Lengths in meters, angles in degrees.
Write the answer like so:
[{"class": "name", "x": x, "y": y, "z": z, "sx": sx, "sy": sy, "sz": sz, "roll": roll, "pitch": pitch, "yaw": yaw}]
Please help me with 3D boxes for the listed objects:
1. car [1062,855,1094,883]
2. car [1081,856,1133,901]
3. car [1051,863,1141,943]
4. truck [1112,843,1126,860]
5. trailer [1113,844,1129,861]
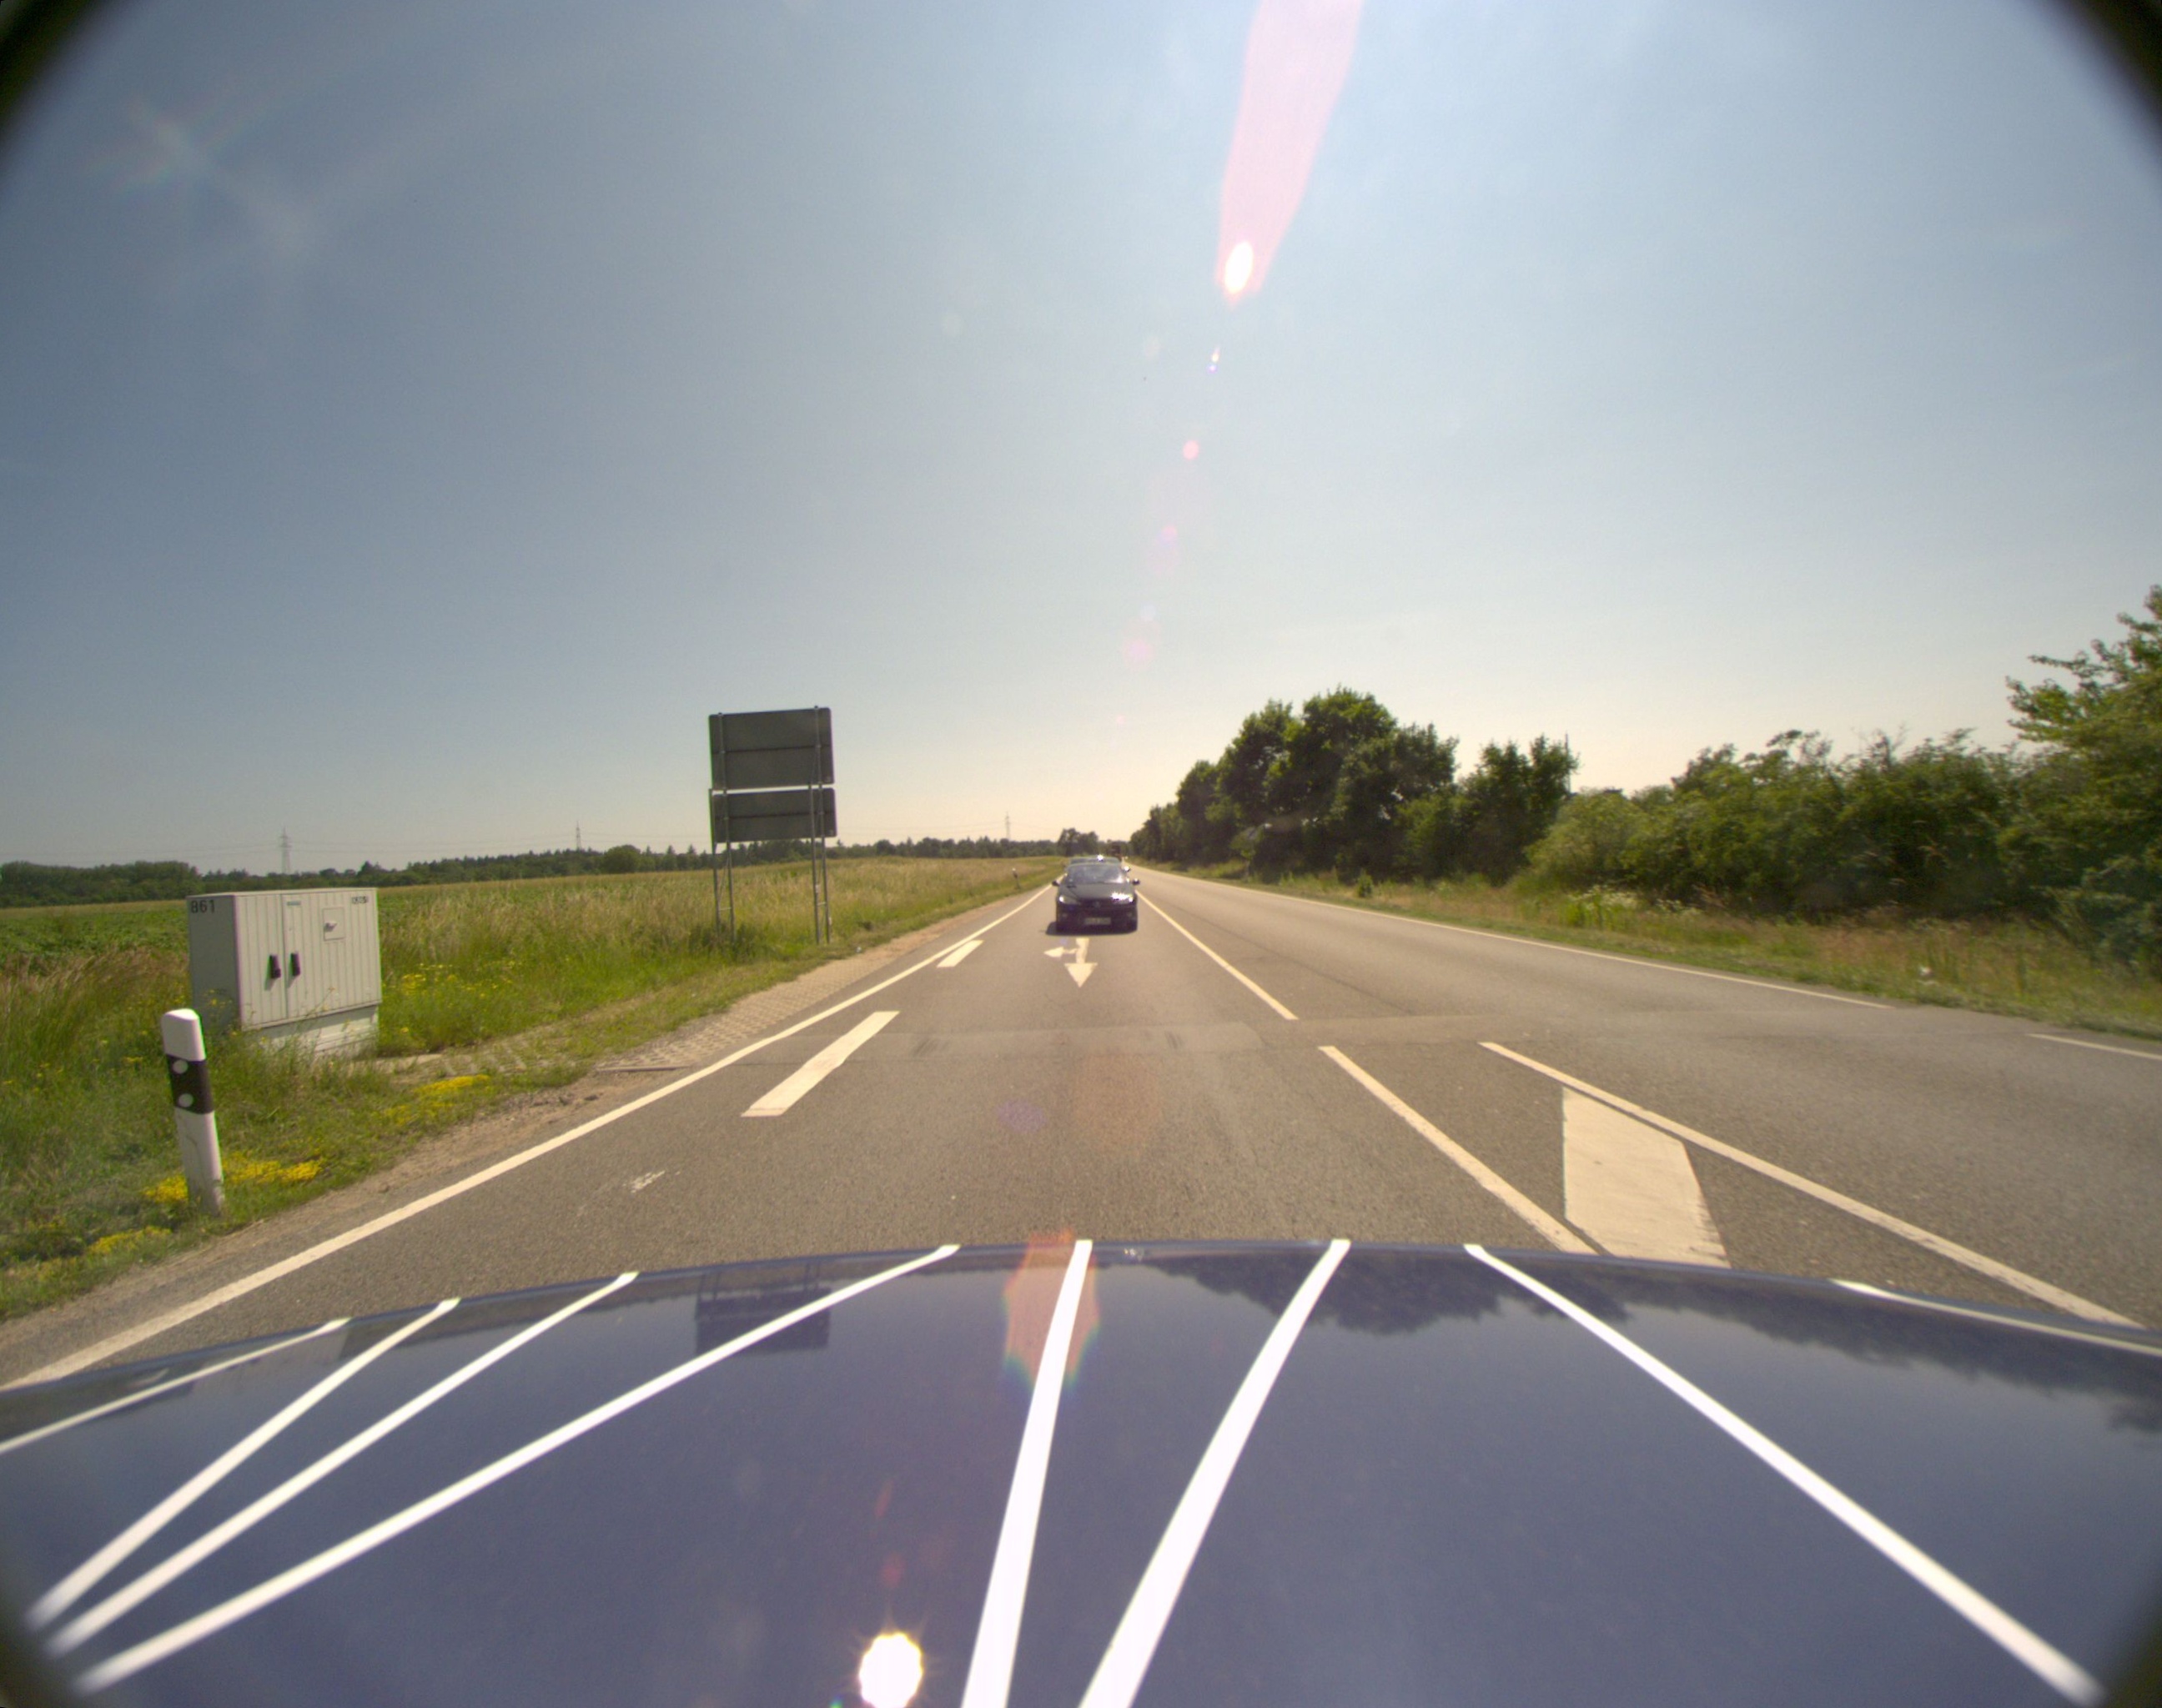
[{"class": "car", "x": -0.213, "y": 0.840, "z": 43.838, "sx": 1.666, "sy": 1.449, "sz": 4.172, "roll": -2, "pitch": 0, "yaw": -2}, {"class": "car", "x": 0.898, "y": 0.841, "z": 28.280, "sx": 1.665, "sy": 1.477, "sz": 3.730, "roll": -2, "pitch": 1, "yaw": -2}, {"class": "car", "x": 0.322, "y": 0.951, "z": 16.195, "sx": 1.665, "sy": 1.389, "sz": 3.731, "roll": -2, "pitch": 0, "yaw": 1}, {"class": "truck", "x": 8.803, "y": -0.615, "z": 176.198, "sx": 2.709, "sy": 3.908, "sz": 5.951, "roll": -1, "pitch": 0, "yaw": 0}, {"class": "trailer", "x": 8.792, "y": -0.359, "z": 168.854, "sx": 2.669, "sy": 3.440, "sz": 14.948, "roll": -1, "pitch": 0, "yaw": 0}]
